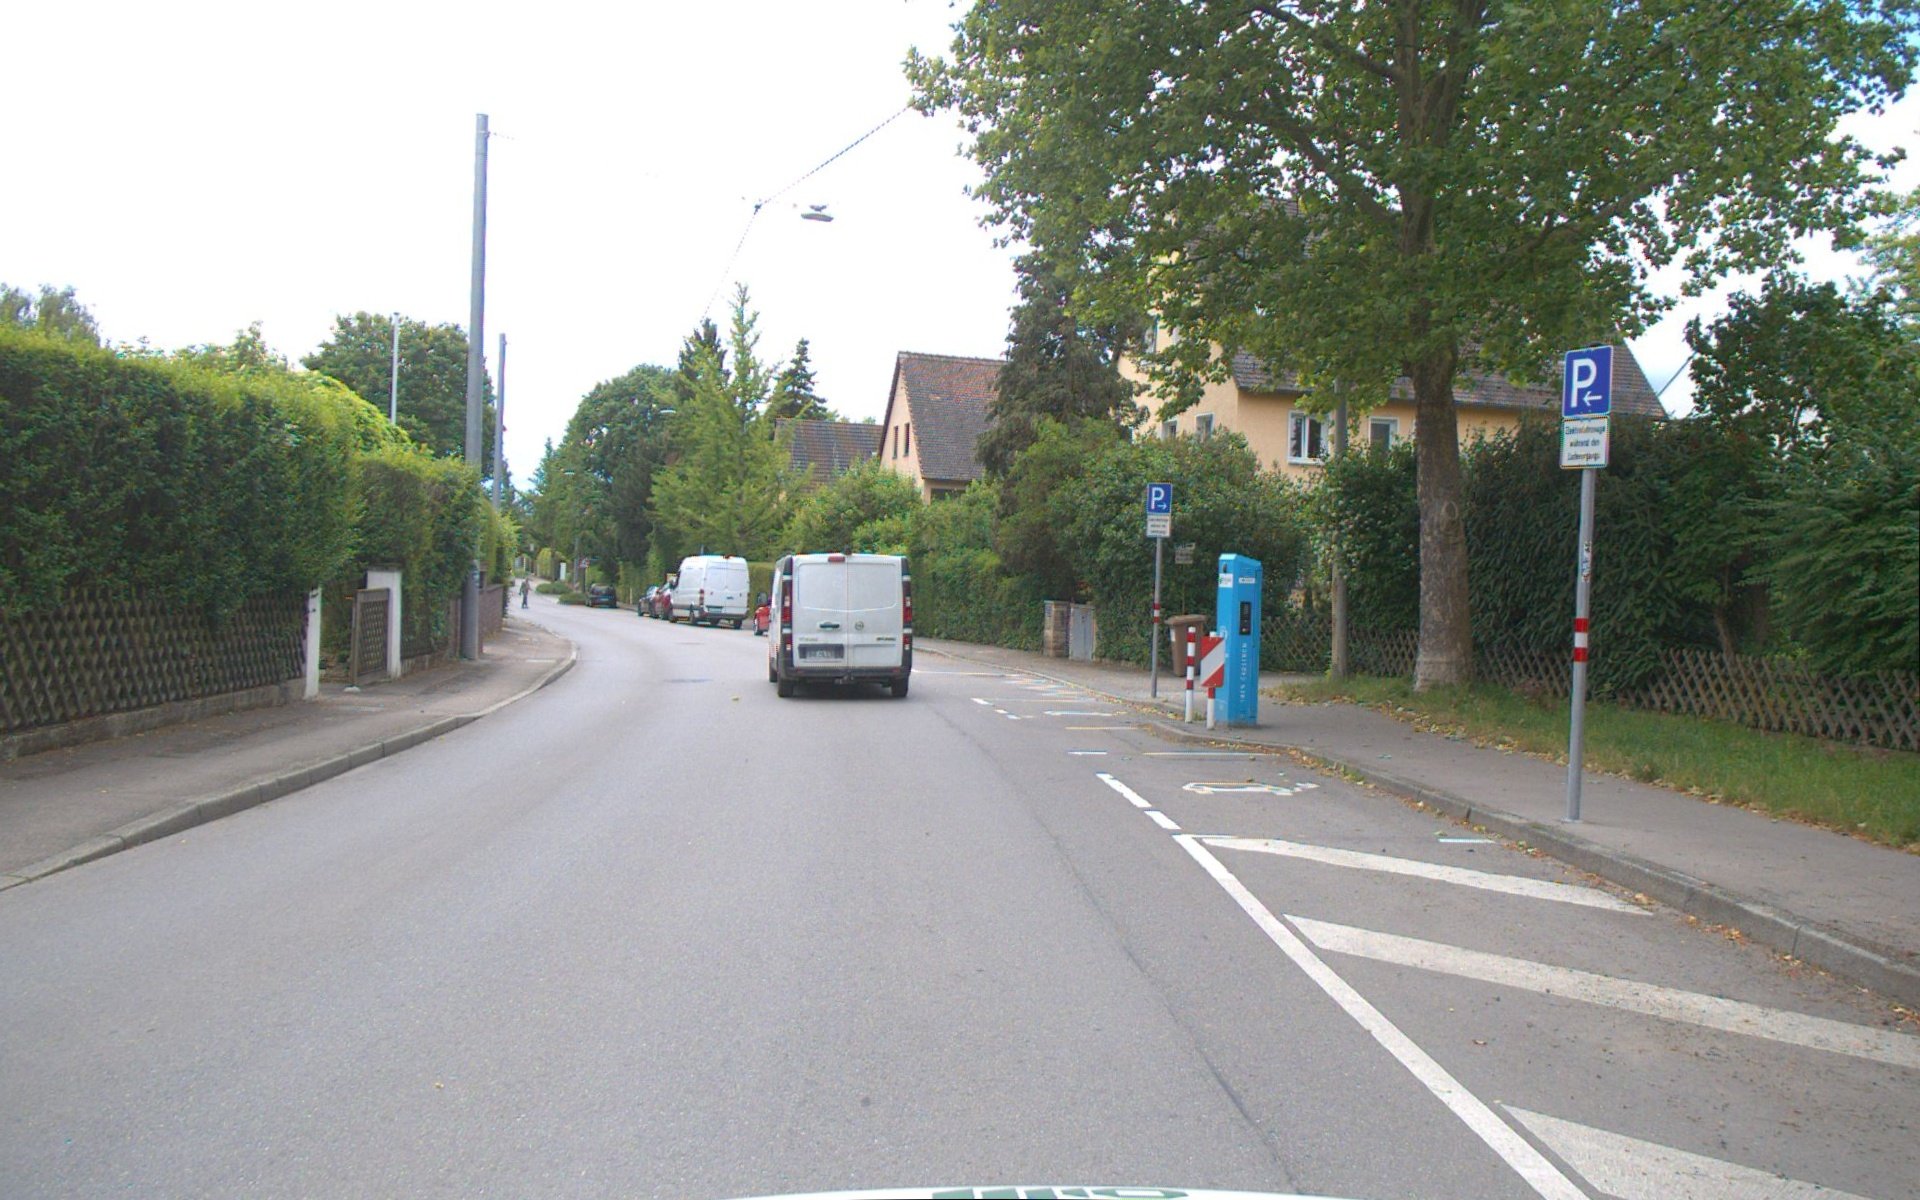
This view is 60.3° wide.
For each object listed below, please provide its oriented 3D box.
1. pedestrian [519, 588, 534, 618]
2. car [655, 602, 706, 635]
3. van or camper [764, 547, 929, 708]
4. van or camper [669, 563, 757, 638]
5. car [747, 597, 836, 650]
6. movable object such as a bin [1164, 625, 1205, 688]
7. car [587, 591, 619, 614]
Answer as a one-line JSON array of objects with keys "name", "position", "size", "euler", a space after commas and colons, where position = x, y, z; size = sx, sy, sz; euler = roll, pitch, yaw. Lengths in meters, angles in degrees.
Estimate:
[{"name": "pedestrian", "position": [-23.825, 0.161, 90.992], "size": [0.543, 1.586, 0.553], "euler": [2, 2, 18]}, {"name": "car", "position": [-12.146, 0.796, 71.759], "size": [1.508, 1.327, 4.008], "euler": [2, 0, -20]}, {"name": "van or camper", "position": [-1.791, 0.302, 24.387], "size": [1.889, 2.048, 4.819], "euler": [2, 2, -10]}, {"name": "van or camper", "position": [-9.666, -0.001, 64.237], "size": [2.037, 2.721, 6.290], "euler": [2, 0, -20]}, {"name": "car", "position": [-5.276, 0.703, 51.436], "size": [1.688, 1.493, 4.241], "euler": [2, 0, -21]}, {"name": "movable object such as a bin", "position": [4.064, 1.023, 29.969], "size": [0.592, 1.088, 0.568], "euler": [2, 0, -4]}, {"name": "car", "position": [-22.199, 0.157, 102.721], "size": [1.508, 1.327, 3.209], "euler": [2, 0, -20]}]
